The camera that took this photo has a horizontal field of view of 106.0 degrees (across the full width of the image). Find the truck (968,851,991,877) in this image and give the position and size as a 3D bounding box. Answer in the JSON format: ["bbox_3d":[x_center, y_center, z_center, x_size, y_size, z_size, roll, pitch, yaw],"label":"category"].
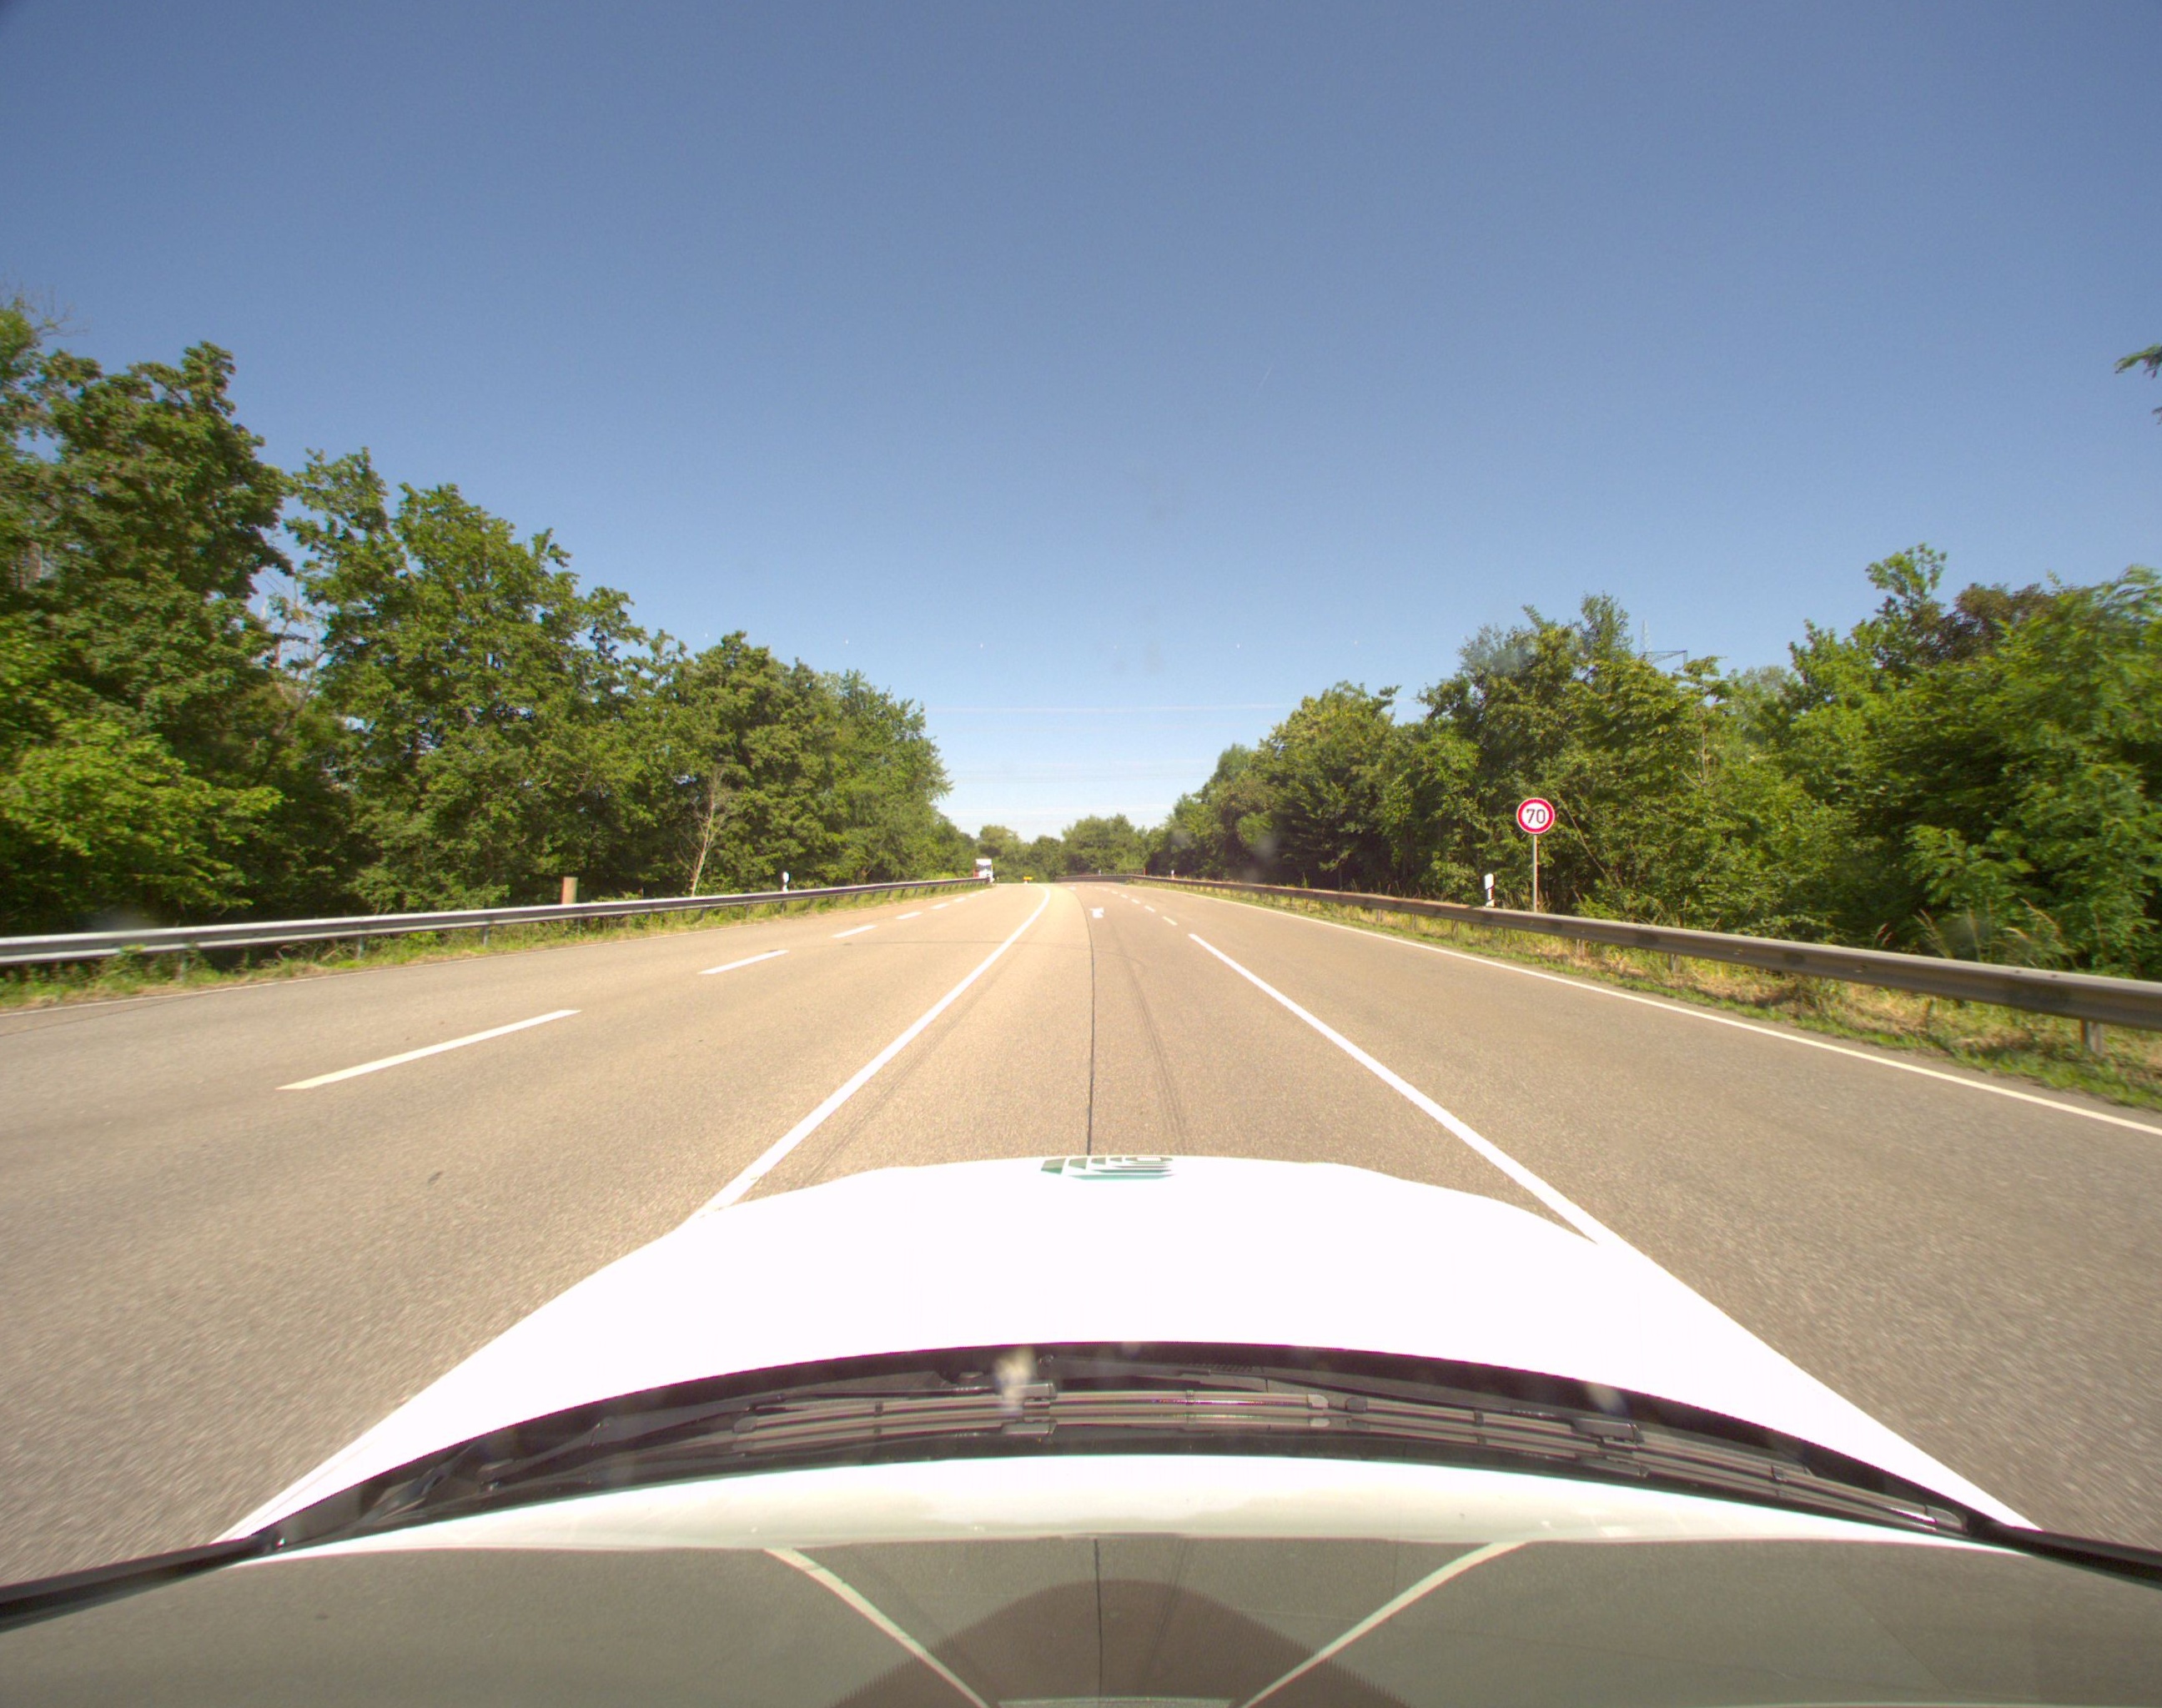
[{"bbox_3d":[-16.859,1.670,135.194,2.775,4.035,5.820,0,-3,-17],"label":"truck"}]

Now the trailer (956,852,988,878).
[{"bbox_3d":[-19.172,2.015,142.114,2.777,4.063,14.103,-1,-2,-19],"label":"trailer"}]
